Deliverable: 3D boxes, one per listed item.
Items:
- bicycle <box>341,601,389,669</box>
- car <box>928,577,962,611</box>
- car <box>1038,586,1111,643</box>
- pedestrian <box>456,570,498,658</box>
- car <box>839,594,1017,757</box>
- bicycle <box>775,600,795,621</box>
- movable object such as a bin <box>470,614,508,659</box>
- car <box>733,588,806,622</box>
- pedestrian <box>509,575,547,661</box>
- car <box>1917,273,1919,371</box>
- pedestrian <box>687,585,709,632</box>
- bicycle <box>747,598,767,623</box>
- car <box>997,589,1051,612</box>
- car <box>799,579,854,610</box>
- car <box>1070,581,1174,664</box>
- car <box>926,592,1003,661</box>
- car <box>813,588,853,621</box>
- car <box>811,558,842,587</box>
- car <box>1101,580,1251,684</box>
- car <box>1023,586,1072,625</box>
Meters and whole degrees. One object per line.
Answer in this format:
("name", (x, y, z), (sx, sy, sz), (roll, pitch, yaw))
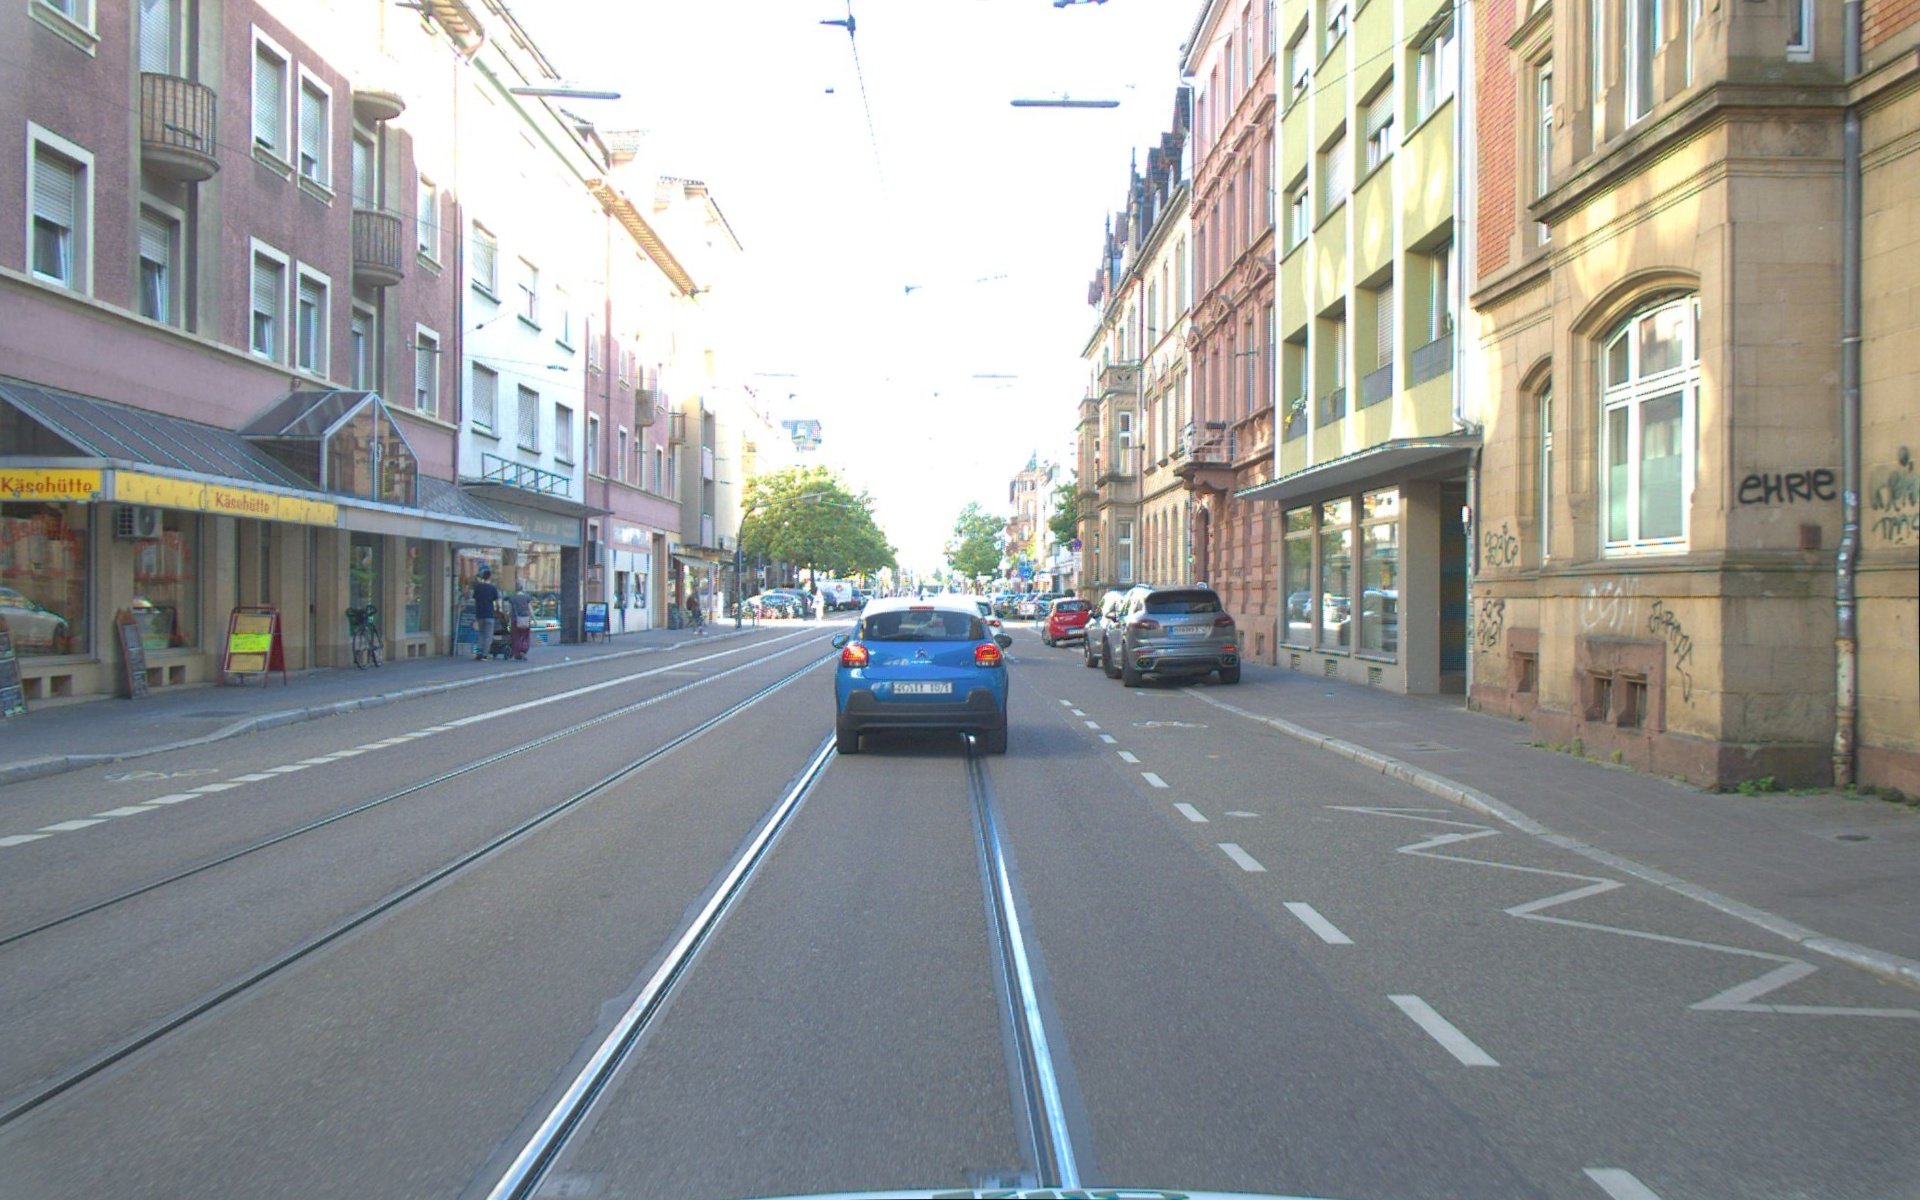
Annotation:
("bicycle", (-10.869, 0.623, 30.269), (0.610, 1.180, 2.058), (0, 0, -14))
("car", (-0.929, -0.366, 99.979), (1.953, 2.049, 3.999), (0, 0, -2))
("car", (3.676, 0.427, 53.678), (1.965, 1.701, 4.390), (-1, 1, -1))
("pedestrian", (-9.932, 0.286, 34.001), (0.696, 1.795, 0.570), (0, 0, -2))
("car", (-0.353, 0.688, 17.307), (1.640, 1.503, 3.999), (0, 0, -2))
("bicycle", (-9.920, 0.570, 93.772), (1.099, 1.166, 3.639), (0, 0, -6))
("movable object such as a bin", (-9.875, 0.761, 34.687), (0.598, 0.930, 0.695), (0, 0, -1))
("car", (-11.618, 0.274, 101.115), (4.219, 2.052, 2.210), (0, 0, 1))
("pedestrian", (-9.101, 0.371, 34.847), (0.697, 1.795, 0.653), (0, 0, -9))
("car", (4.073, 0.213, 2.271), (2.224, 2.479, 5.721), (-2, 0, 1))
("pedestrian", (-9.382, 0.309, 59.224), (0.671, 1.667, 0.675), (0, 0, -2))
("bicycle", (-11.462, 0.567, 93.501), (1.099, 1.342, 3.639), (0, 0, -6))
("car", (4.598, 0.047, 119.076), (3.759, 1.646, 1.790), (0, 0, -4))
("car", (-11.502, -0.463, 142.187), (4.256, 2.626, 2.190), (0, 0, -27))
("car", (3.630, 0.469, 37.780), (1.867, 1.788, 3.999), (0, 0, -2))
("car", (0.051, 0.578, 38.216), (1.633, 1.504, 3.998), (0, 0, -2))
("car", (-6.737, 0.220, 88.016), (1.953, 1.680, 3.999), (0, 0, -2))
("car", (-12.535, -2.578, 155.119), (2.166, 2.626, 4.304), (0, 0, -16))
("car", (3.745, 0.507, 29.510), (1.965, 1.701, 4.805), (0, 0, -1))
("car", (4.083, 0.238, 78.029), (1.965, 1.701, 4.390), (-2, 0, -1))
